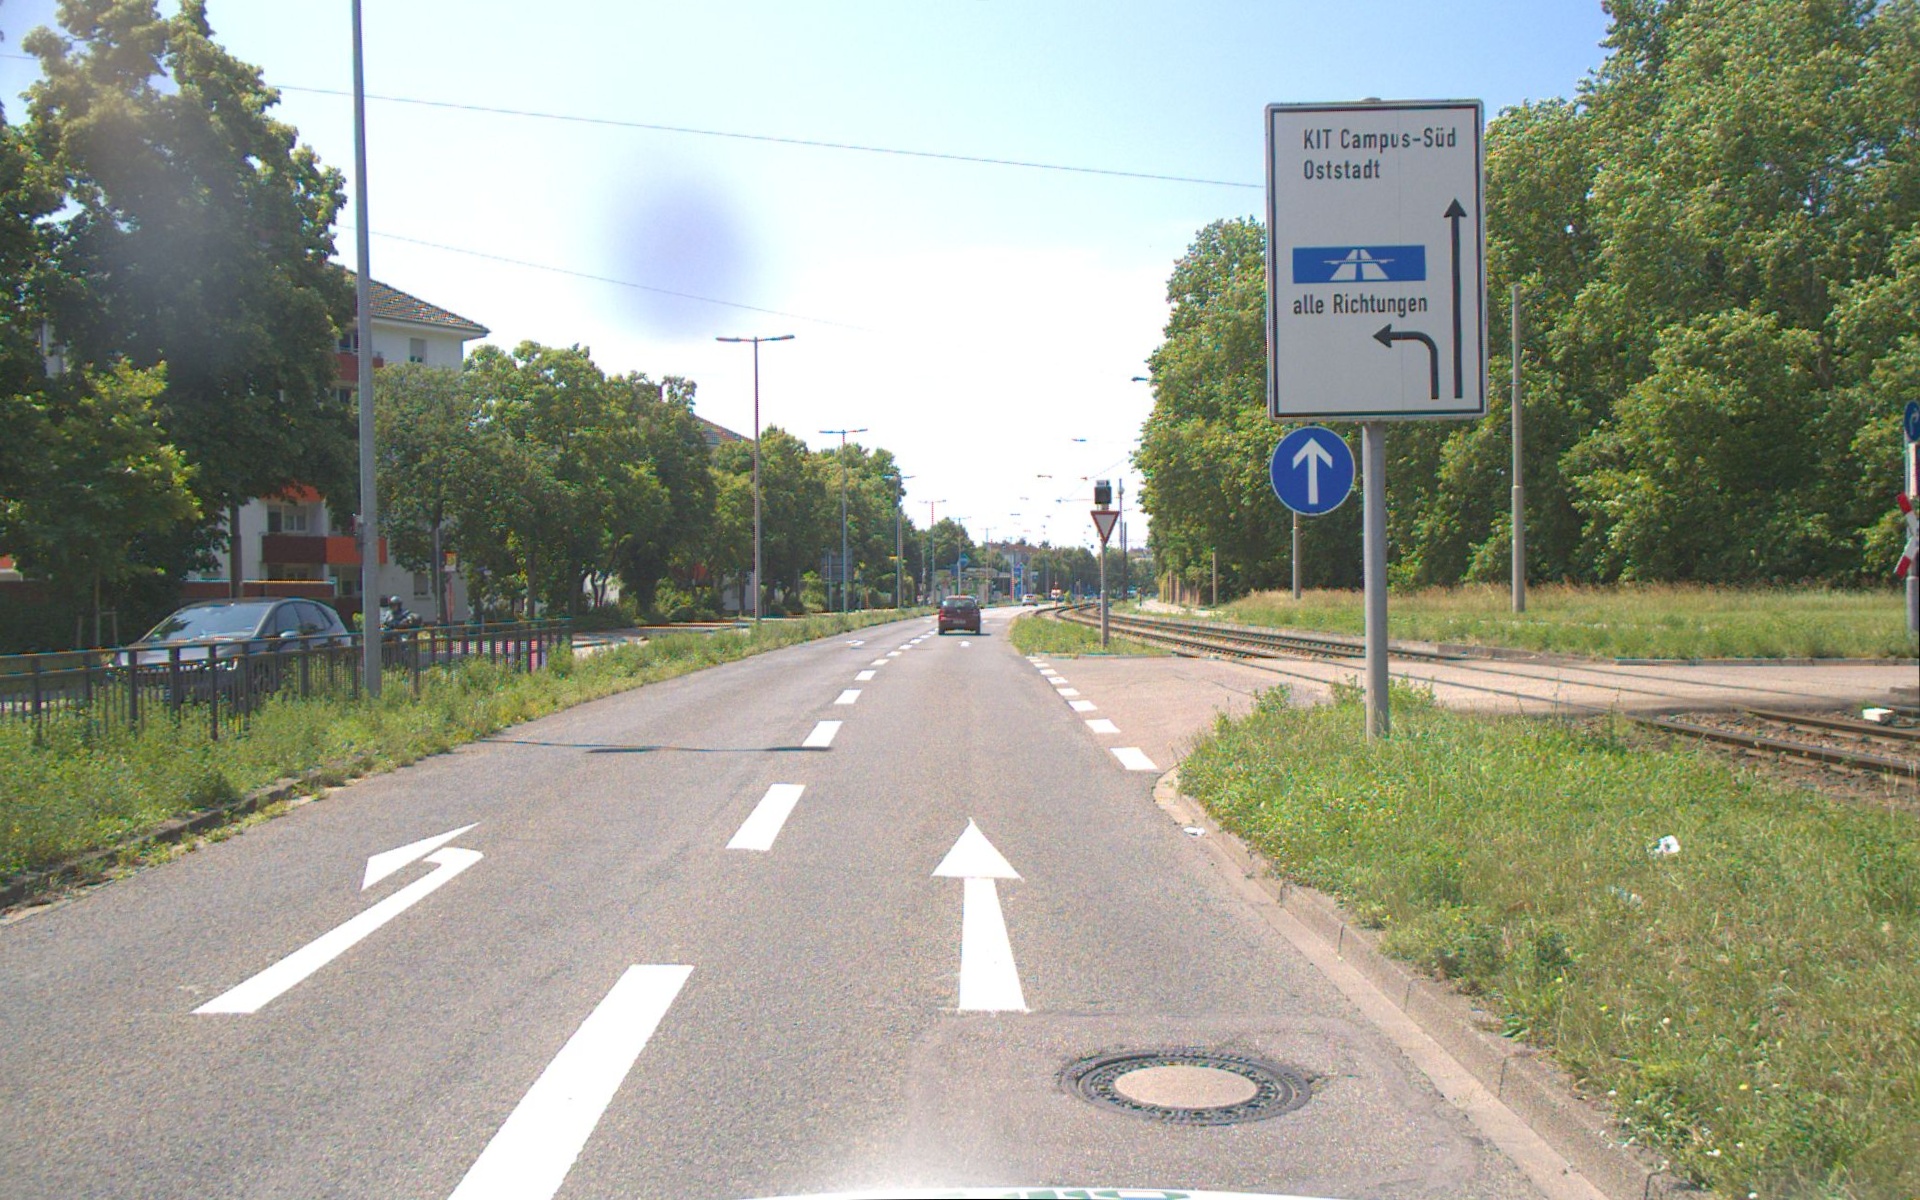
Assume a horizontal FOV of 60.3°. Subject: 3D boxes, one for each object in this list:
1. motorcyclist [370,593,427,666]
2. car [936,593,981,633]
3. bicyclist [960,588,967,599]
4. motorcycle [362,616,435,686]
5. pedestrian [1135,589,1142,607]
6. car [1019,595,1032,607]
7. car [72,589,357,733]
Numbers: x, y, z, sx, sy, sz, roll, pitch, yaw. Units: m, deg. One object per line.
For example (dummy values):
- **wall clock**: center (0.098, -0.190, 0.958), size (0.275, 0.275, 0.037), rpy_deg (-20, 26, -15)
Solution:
- **motorcyclist**: center (-11.351, 0.582, 33.482), size (0.722, 1.428, 1.511), rpy_deg (-1, 0, -5)
- **car**: center (-0.039, 0.520, 63.865), size (1.668, 1.503, 3.716), rpy_deg (0, -1, 0)
- **bicyclist**: center (0.514, -0.995, 249.821), size (0.926, 1.621, 1.086), rpy_deg (1, -1, -7)
- **motorcycle**: center (-11.363, 1.010, 33.540), size (0.789, 1.321, 2.393), rpy_deg (-1, 0, -4)
- **pedestrian**: center (16.777, -0.187, 155.695), size (0.647, 1.756, 0.817), rpy_deg (-1, 0, 6)
- **car**: center (8.457, 0.090, 212.811), size (1.667, 1.506, 3.717), rpy_deg (1, 0, 2)
- **car**: center (-9.103, 0.673, 20.601), size (1.721, 1.570, 4.160), rpy_deg (-1, 0, -2)
